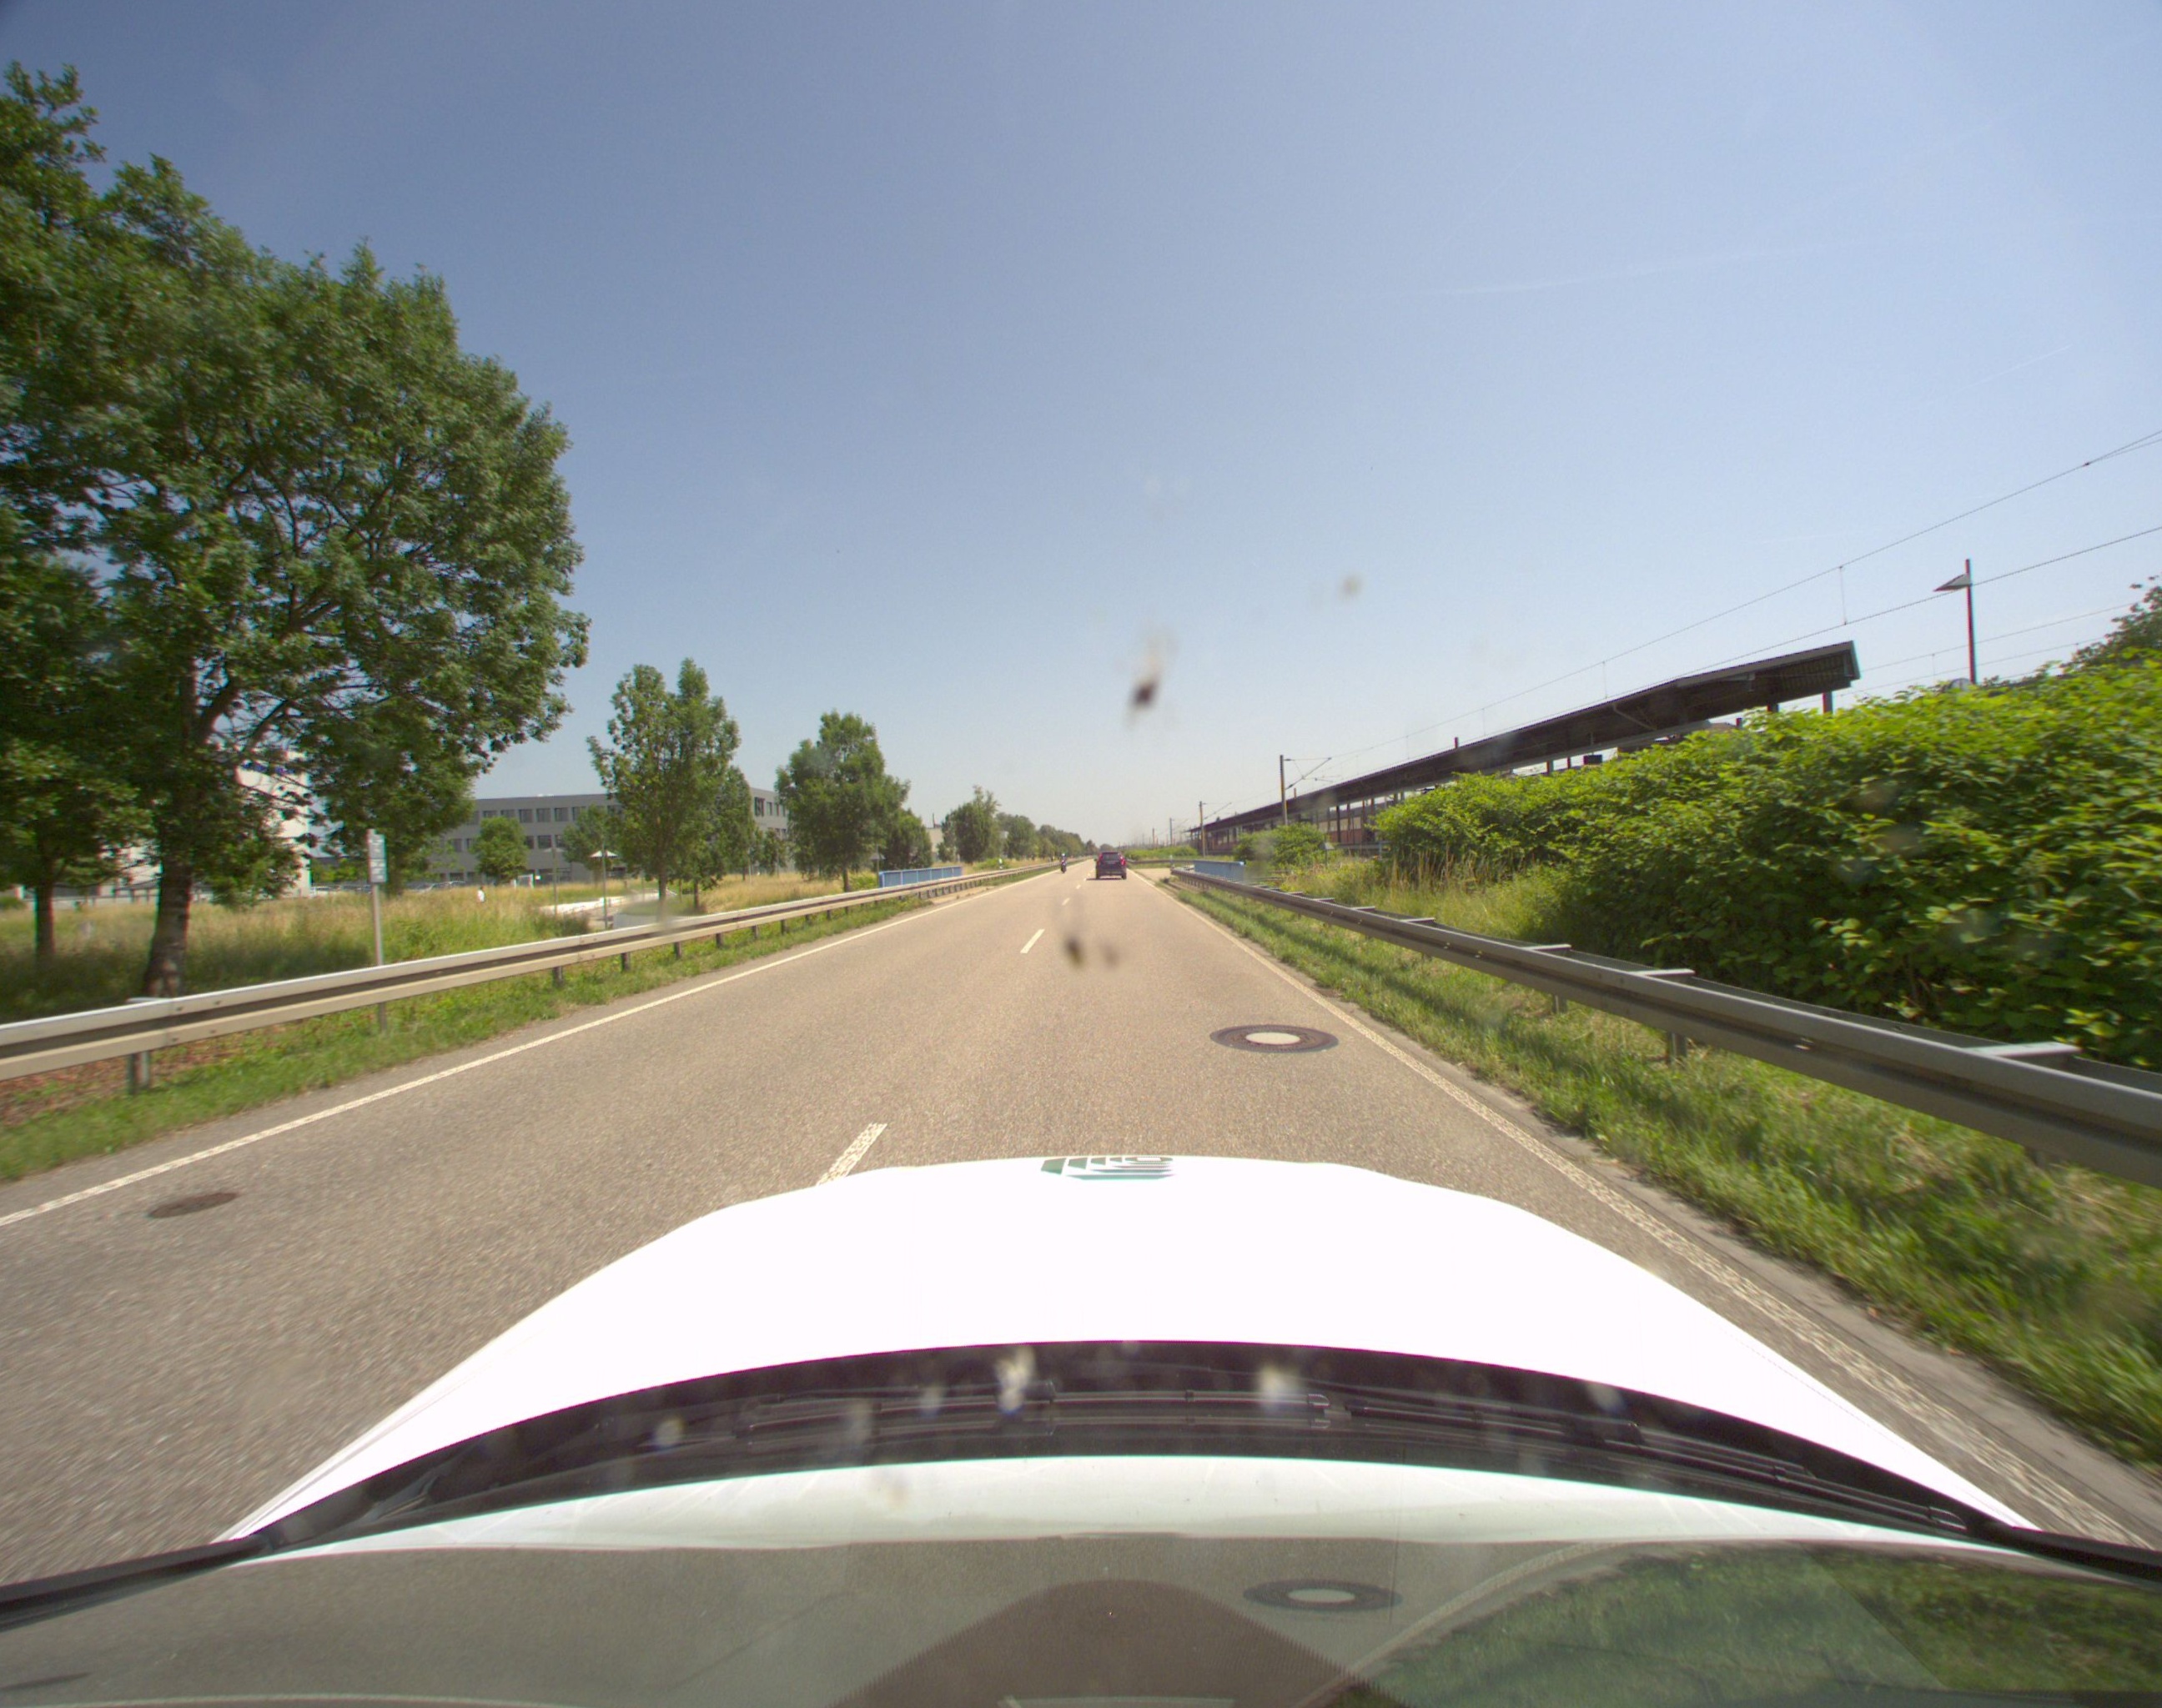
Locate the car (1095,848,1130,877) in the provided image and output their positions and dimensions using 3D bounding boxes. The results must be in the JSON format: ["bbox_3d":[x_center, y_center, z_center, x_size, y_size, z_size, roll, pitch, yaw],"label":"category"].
[{"bbox_3d":[1.910,0.515,50.485,1.987,1.700,3.999,-2,0,-1],"label":"car"}]

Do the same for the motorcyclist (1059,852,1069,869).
[{"bbox_3d":[-1.482,0.579,70.008,0.723,1.465,0.988,-1,0,4],"label":"motorcyclist"}]

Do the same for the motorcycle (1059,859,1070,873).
[{"bbox_3d":[-1.445,1.019,69.903,0.686,1.234,2.372,-1,0,4],"label":"motorcycle"}]
